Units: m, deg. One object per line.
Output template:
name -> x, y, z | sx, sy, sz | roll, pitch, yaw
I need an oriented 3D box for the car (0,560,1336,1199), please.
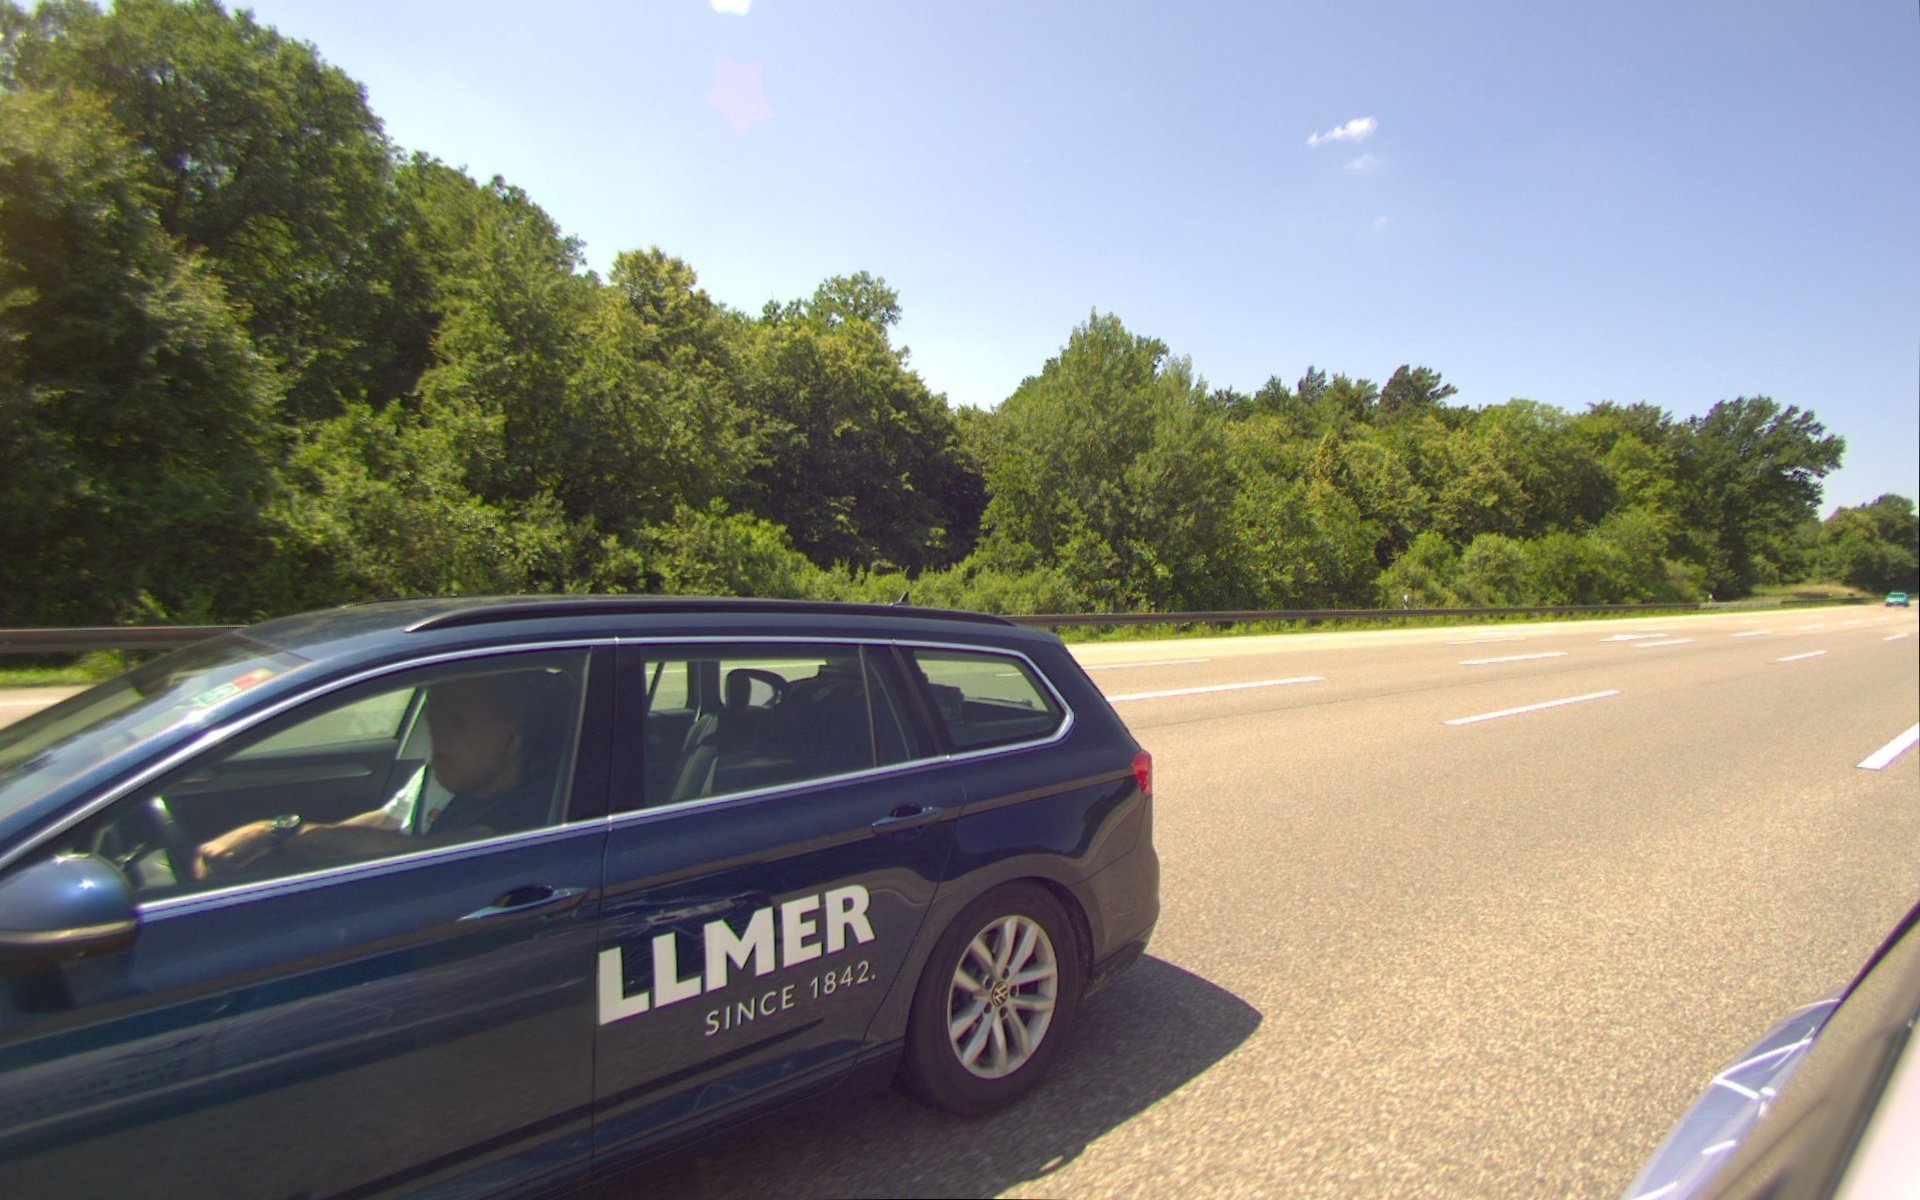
car -> -0.991, 0.647, 2.933 | 4.873, 1.465, 1.733 | 0, 2, -40

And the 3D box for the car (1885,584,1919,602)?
car -> 95.762, -0.751, 102.851 | 4.053, 1.701, 1.999 | -1, 3, -39
